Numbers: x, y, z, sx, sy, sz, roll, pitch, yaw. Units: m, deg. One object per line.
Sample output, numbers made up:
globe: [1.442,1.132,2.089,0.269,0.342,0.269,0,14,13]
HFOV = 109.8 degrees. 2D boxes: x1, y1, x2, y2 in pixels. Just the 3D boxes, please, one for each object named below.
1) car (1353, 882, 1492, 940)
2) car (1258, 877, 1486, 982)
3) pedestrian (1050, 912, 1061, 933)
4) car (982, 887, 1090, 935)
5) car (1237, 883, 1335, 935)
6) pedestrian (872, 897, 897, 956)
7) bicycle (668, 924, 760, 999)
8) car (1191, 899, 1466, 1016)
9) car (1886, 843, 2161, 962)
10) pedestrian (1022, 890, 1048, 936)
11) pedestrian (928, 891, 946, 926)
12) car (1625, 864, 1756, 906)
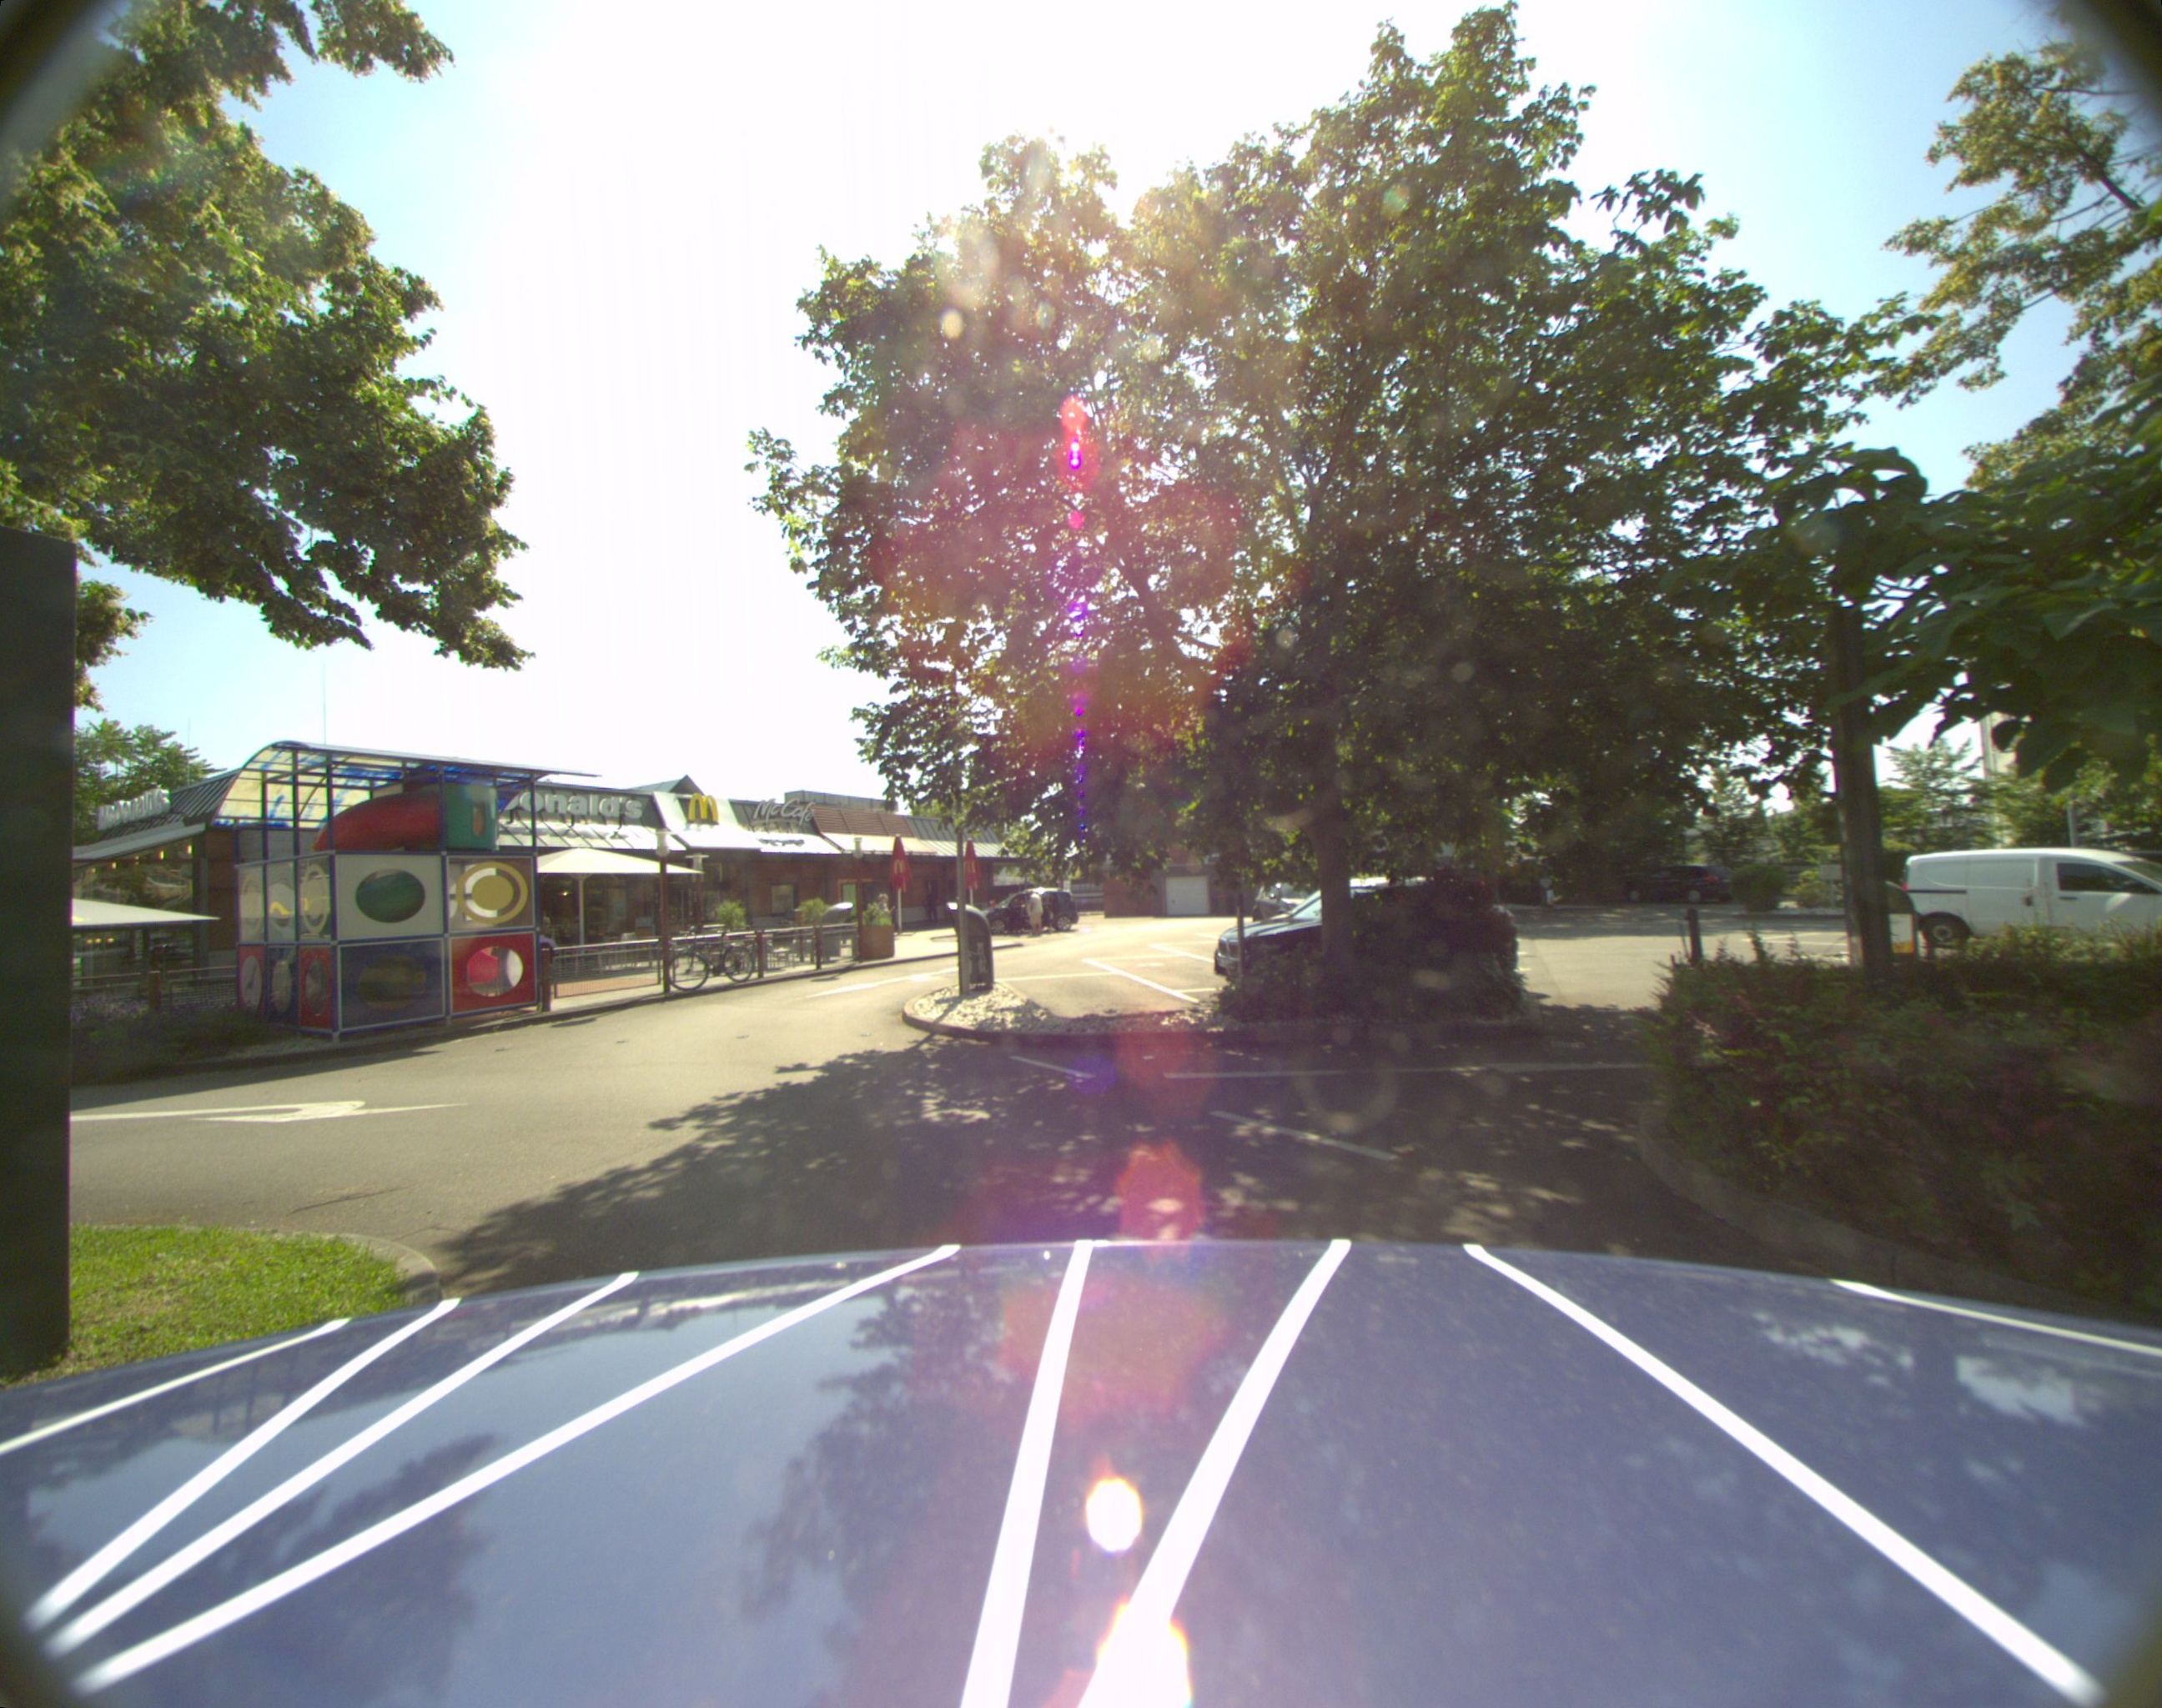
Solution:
car: [10.837,1.763,24.198,3.725,1.622,1.668,-2,-2,-13]
car: [5.969,1.457,15.596,4.232,1.788,1.757,-1,-2,-22]
pedestrian: [-0.974,2.600,29.029,0.365,0.774,0.335,-2,-2,-10]
car: [-1.821,2.217,29.843,4.000,1.647,1.955,-2,-2,-10]
car: [6.677,1.757,25.118,1.621,1.522,3.610,-2,-2,-12]
pedestrian: [-5.411,1.981,20.939,0.597,1.557,0.571,-2,-1,-12]
bicycle: [-6.885,1.992,14.323,0.309,1.179,1.615,-1,1,32]
car: [3.968,1.543,12.215,4.004,1.484,1.654,-1,-2,-22]
car: [17.251,0.784,13.006,1.750,1.816,4.349,-2,-2,-18]
pedestrian: [-1.712,2.170,28.081,0.833,1.627,0.788,-2,-2,-10]
pedestrian: [-6.852,2.587,36.216,0.541,1.641,0.624,-3,-2,29]
car: [25.107,1.276,31.480,1.820,1.567,3.867,-2,-2,-12]
